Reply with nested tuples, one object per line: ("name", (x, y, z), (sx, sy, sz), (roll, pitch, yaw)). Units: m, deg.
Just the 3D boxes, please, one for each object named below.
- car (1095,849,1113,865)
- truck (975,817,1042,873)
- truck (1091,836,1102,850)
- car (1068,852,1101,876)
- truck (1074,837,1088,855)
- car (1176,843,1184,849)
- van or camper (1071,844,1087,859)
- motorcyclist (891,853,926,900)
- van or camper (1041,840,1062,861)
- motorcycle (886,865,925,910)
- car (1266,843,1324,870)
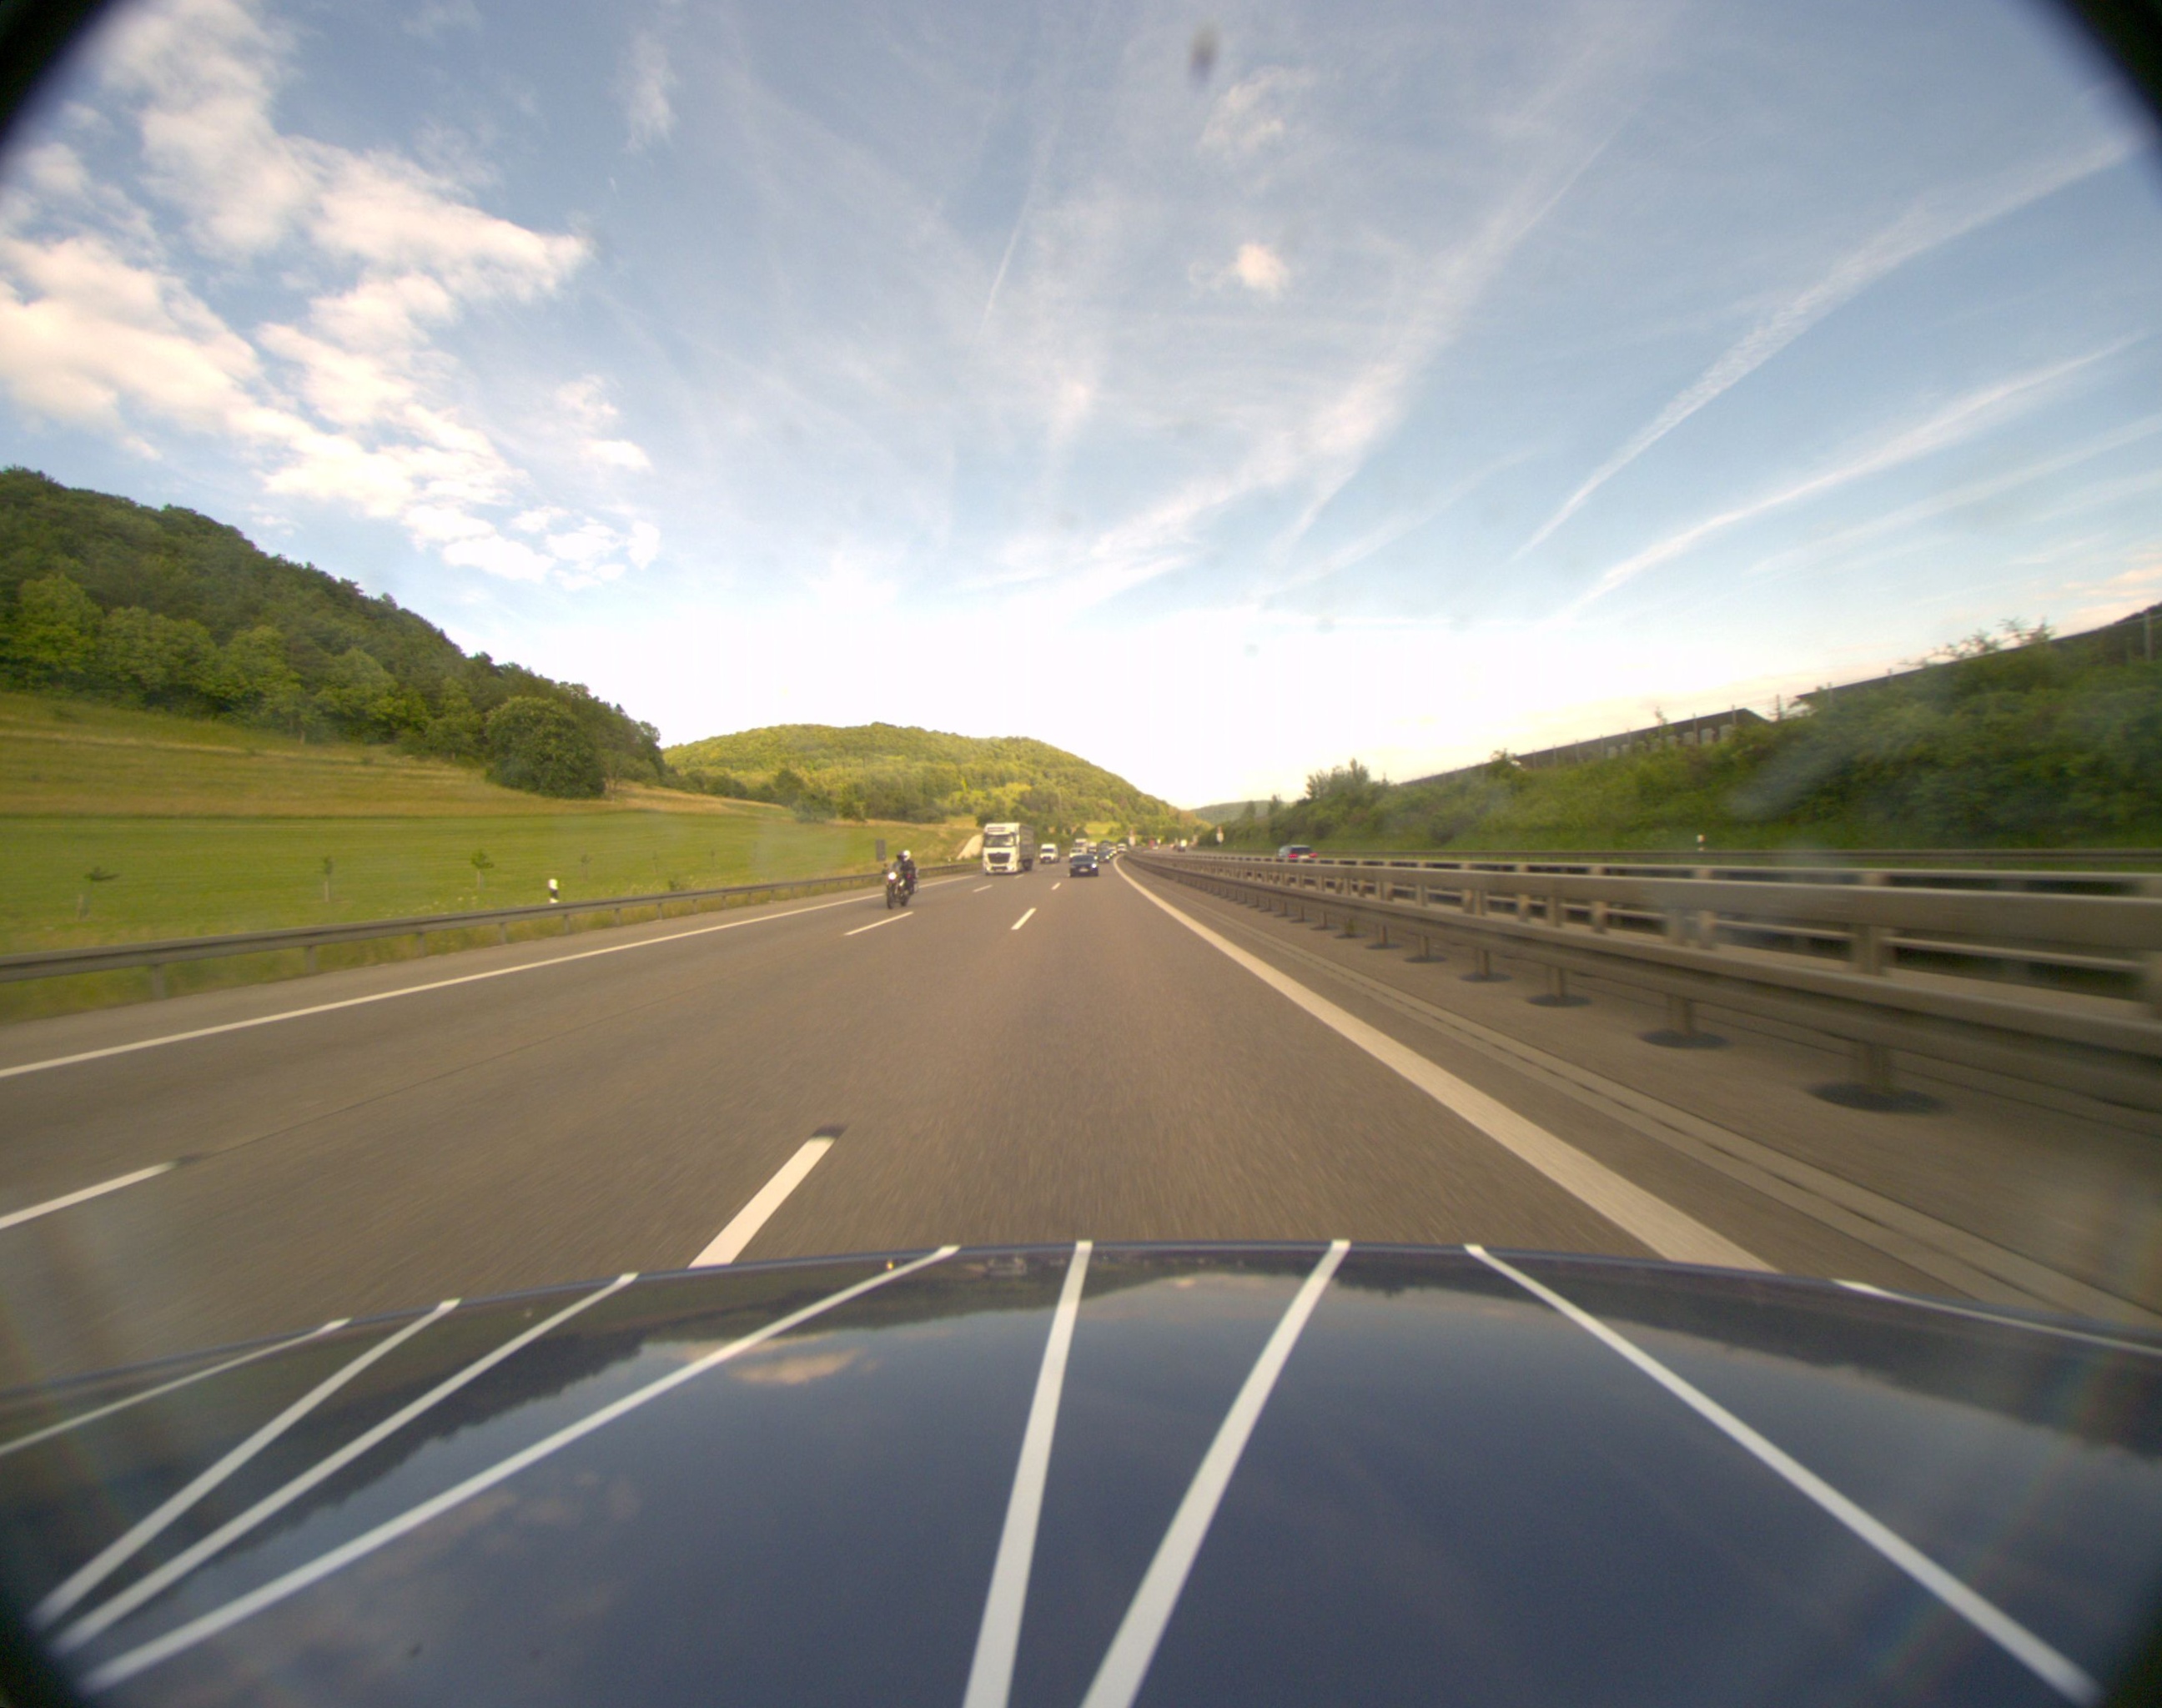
("car", (2.800, 0.333, 93.071), (1.998, 1.871, 4.000), (-1, 0, 1))
("truck", (-5.677, -0.767, 63.382), (2.971, 3.969, 17.732), (-2, 1, 3))
("truck", (4.278, -2.953, 209.367), (2.708, 3.627, 9.034), (-2, 1, 3))
("car", (0.272, 0.610, 48.632), (1.579, 1.310, 4.002), (-2, 1, 8))
("truck", (-0.008, -1.843, 176.126), (2.925, 3.876, 13.007), (-2, 1, 0))
("car", (24.420, -1.895, 187.609), (1.710, 1.407, 4.000), (-2, 1, 2))
("van or camper", (-0.255, -0.394, 105.305), (1.998, 1.881, 4.487), (-2, 1, 1))
("motorcyclist", (-5.680, 0.729, 25.002), (0.879, 1.506, 0.797), (-3, 1, 2))
("van or camper", (-3.917, -0.527, 103.096), (1.998, 2.701, 7.524), (-2, 0, 3))
("motorcycle", (-5.683, 1.073, 24.647), (0.628, 1.331, 1.739), (-2, 1, 7))
("car", (12.608, 0.113, 45.092), (1.999, 1.422, 4.585), (-3, 1, -2))
